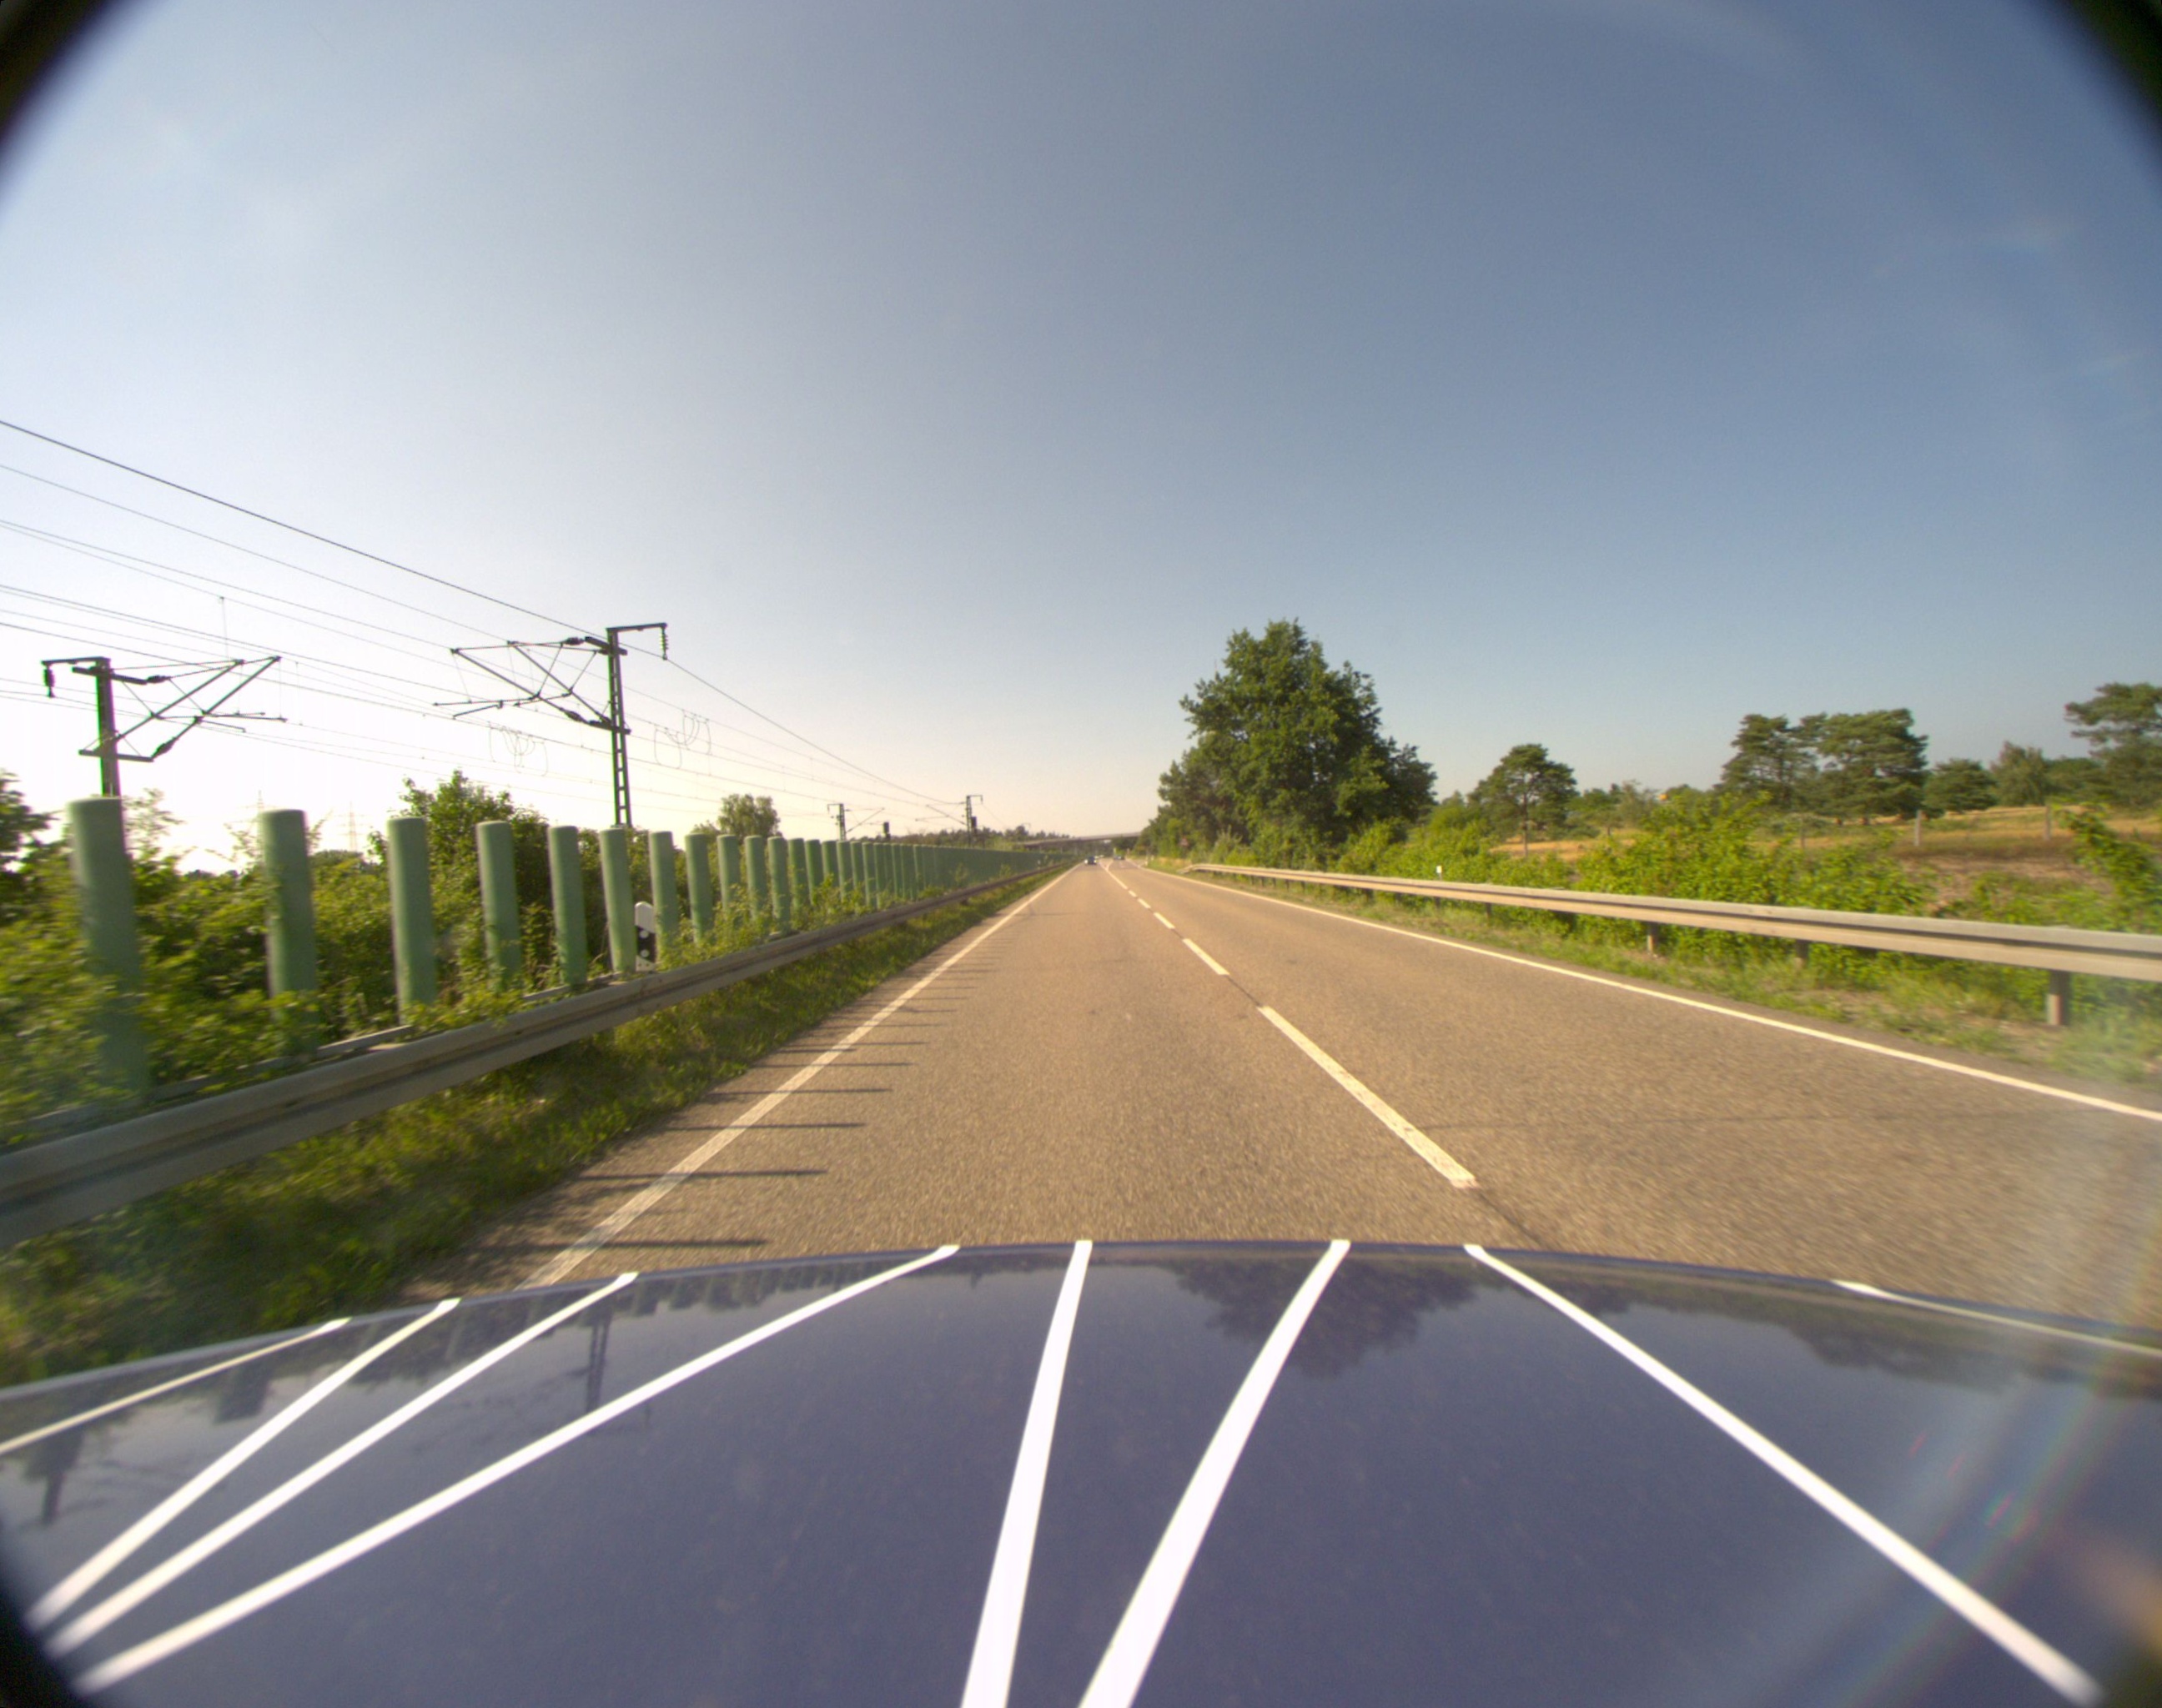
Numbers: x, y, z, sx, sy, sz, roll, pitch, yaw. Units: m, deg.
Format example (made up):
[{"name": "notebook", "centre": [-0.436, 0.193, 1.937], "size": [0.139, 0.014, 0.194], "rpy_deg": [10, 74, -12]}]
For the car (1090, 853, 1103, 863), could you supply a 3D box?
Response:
[{"name": "car", "centre": [2.374, 0.602, 116.983], "size": [1.868, 1.533, 4.076], "rpy_deg": [-2, 0, 3]}]
